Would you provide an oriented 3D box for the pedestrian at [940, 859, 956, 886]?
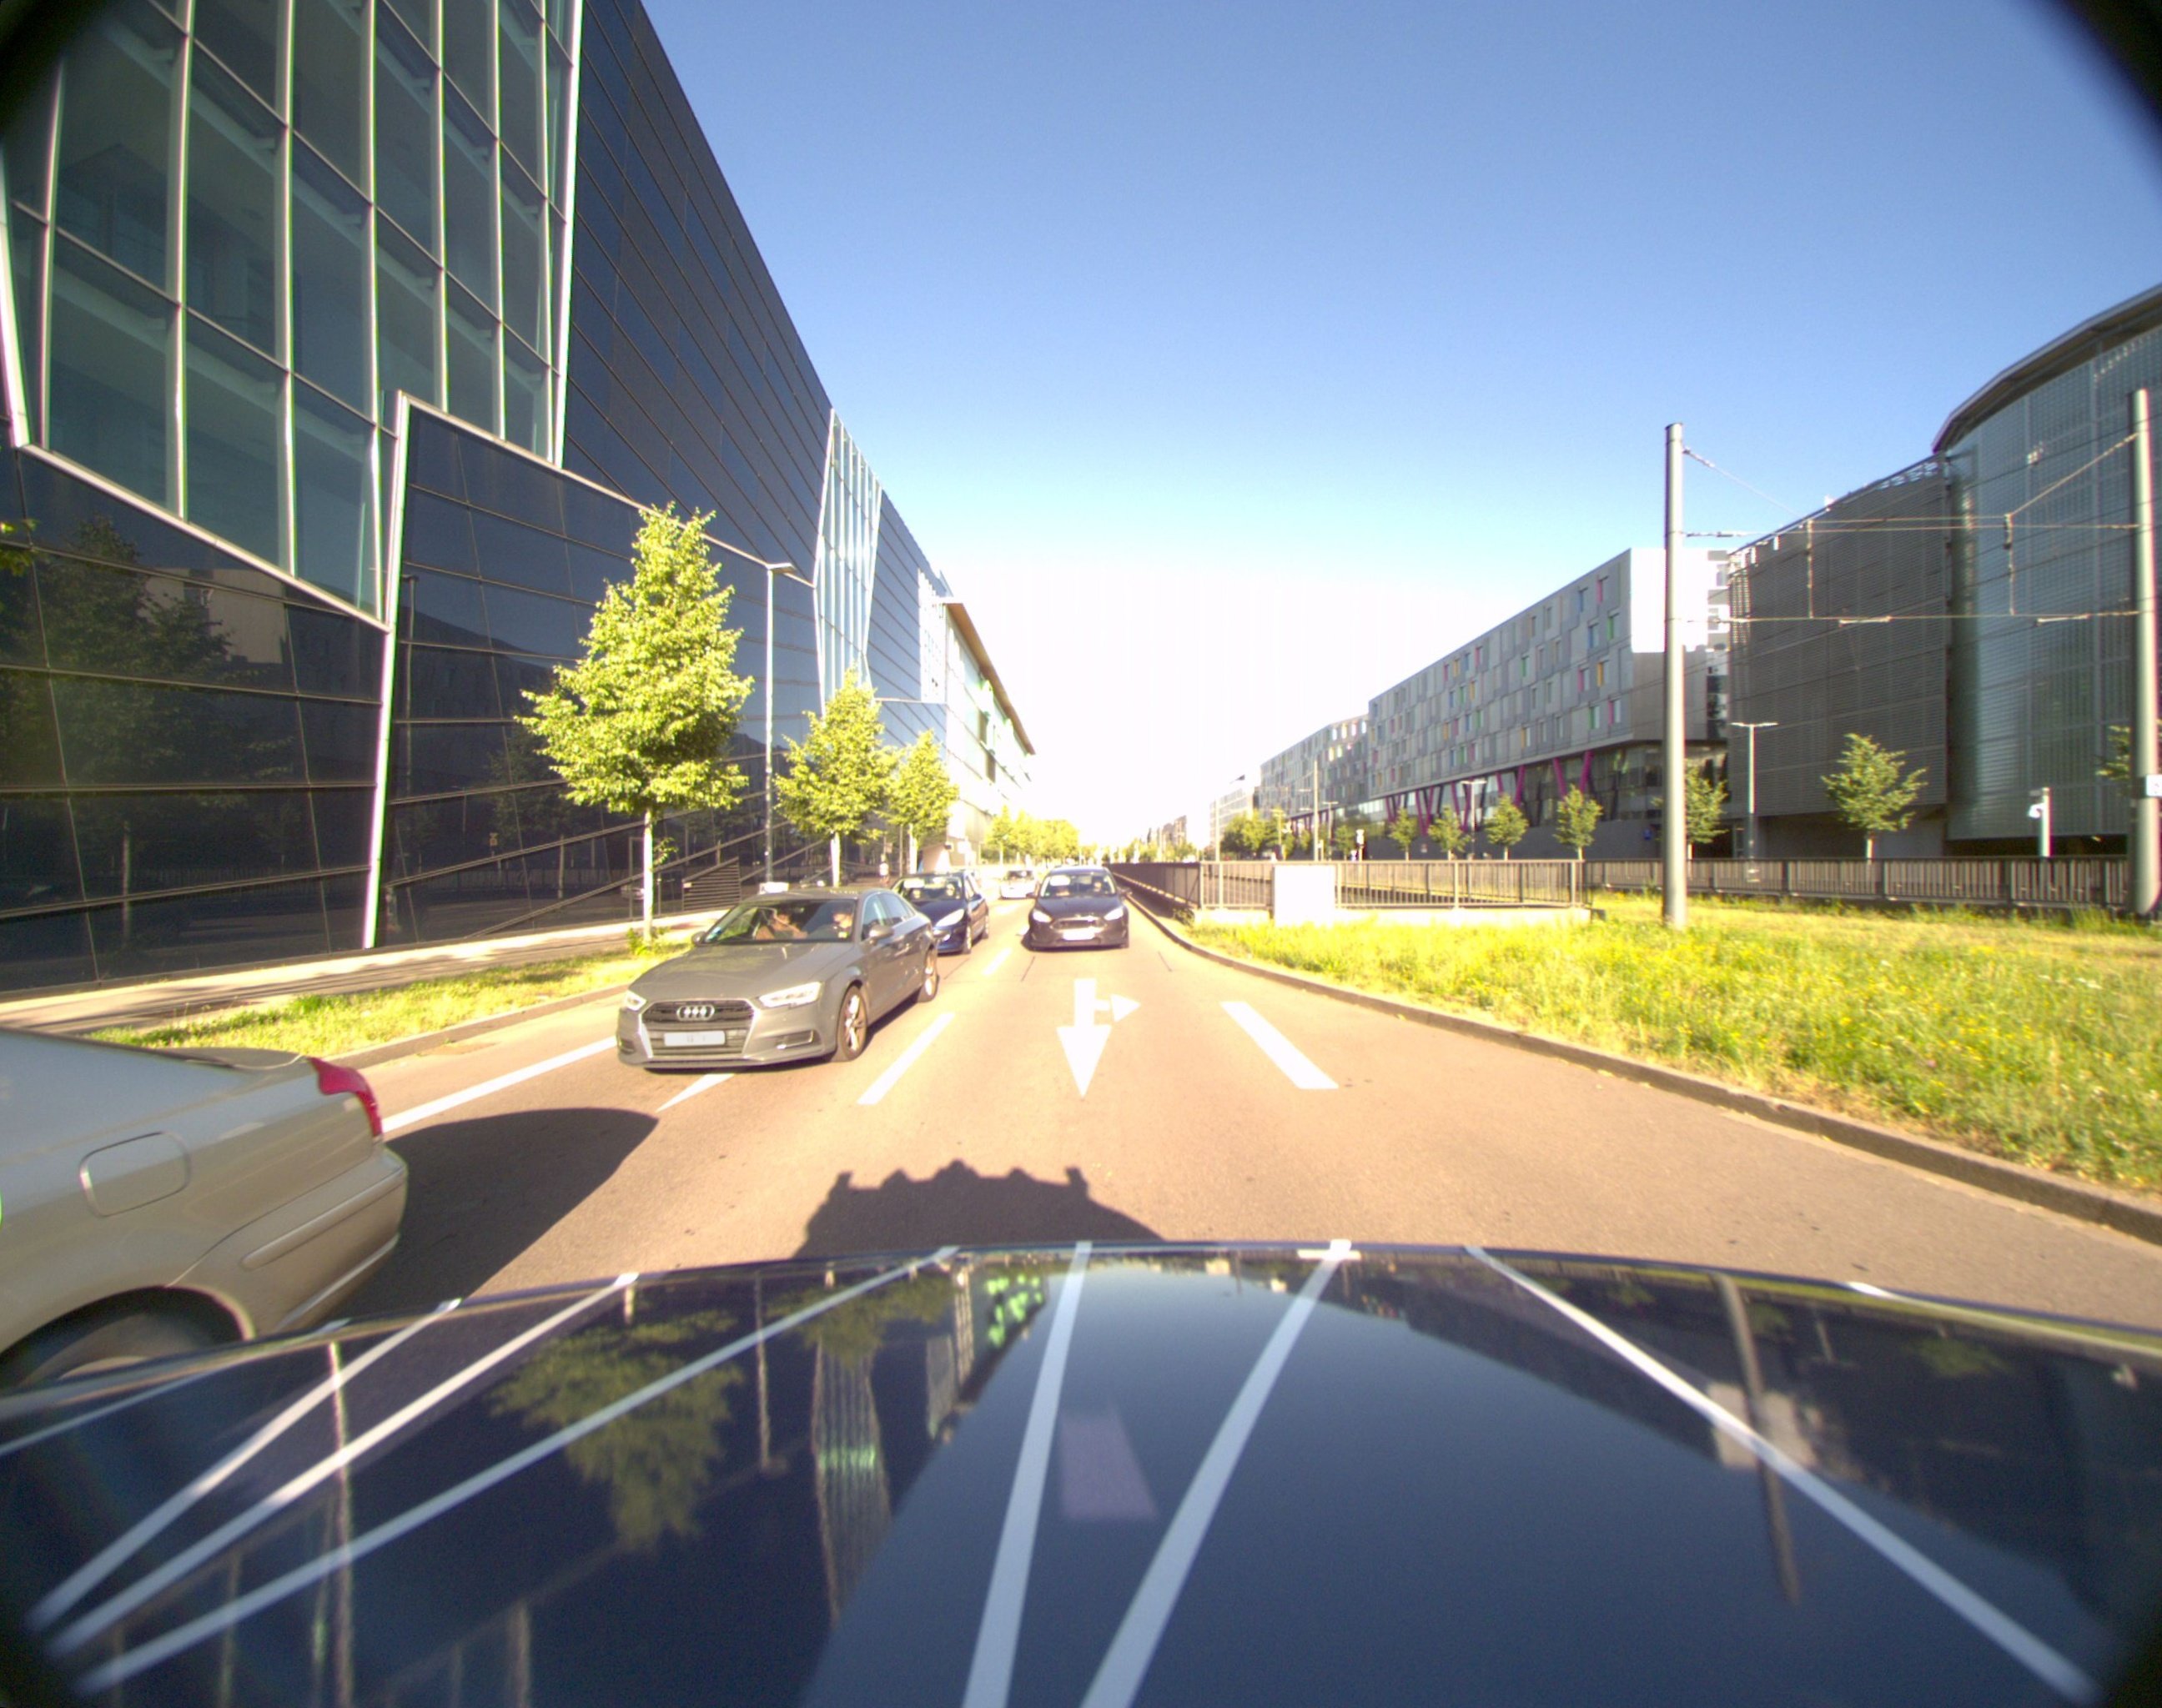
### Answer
[{"bbox_3d":[-8.989,1.235,51.296,0.828,1.814,0.905,3,0,0],"label":"pedestrian"}]

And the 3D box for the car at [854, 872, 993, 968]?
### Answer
[{"bbox_3d":[-2.837,1.138,14.558,1.753,1.469,3.972,-2,0,0],"label":"car"}]

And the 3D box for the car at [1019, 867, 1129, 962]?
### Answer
[{"bbox_3d":[-0.093,1.047,14.971,1.787,1.499,4.590,-2,0,1],"label":"car"}]

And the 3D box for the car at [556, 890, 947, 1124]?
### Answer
[{"bbox_3d":[-2.668,1.172,7.401,1.750,1.384,4.265,-2,0,3],"label":"car"}]

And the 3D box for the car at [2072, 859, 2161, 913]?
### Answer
[{"bbox_3d":[31.850,0.917,21.539,1.998,1.492,4.244,-1,0,1],"label":"car"}]

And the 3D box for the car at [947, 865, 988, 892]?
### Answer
[{"bbox_3d":[-6.803,1.448,45.938,1.740,1.489,4.716,1,0,1],"label":"car"}]

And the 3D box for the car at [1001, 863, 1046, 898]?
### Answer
[{"bbox_3d":[-2.634,1.191,35.239,1.753,1.469,3.418,-2,0,0],"label":"car"}]

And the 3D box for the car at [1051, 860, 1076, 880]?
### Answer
[{"bbox_3d":[-1.434,1.324,64.303,1.907,1.612,4.000,0,0,1],"label":"car"}]

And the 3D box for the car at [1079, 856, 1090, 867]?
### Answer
[{"bbox_3d":[0.660,1.345,144.014,1.998,2.002,4.000,-2,0,1],"label":"car"}]

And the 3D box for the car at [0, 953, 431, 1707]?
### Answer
[{"bbox_3d":[-3.094,1.069,0.172,1.750,1.473,4.629,-1,0,3],"label":"car"}]
